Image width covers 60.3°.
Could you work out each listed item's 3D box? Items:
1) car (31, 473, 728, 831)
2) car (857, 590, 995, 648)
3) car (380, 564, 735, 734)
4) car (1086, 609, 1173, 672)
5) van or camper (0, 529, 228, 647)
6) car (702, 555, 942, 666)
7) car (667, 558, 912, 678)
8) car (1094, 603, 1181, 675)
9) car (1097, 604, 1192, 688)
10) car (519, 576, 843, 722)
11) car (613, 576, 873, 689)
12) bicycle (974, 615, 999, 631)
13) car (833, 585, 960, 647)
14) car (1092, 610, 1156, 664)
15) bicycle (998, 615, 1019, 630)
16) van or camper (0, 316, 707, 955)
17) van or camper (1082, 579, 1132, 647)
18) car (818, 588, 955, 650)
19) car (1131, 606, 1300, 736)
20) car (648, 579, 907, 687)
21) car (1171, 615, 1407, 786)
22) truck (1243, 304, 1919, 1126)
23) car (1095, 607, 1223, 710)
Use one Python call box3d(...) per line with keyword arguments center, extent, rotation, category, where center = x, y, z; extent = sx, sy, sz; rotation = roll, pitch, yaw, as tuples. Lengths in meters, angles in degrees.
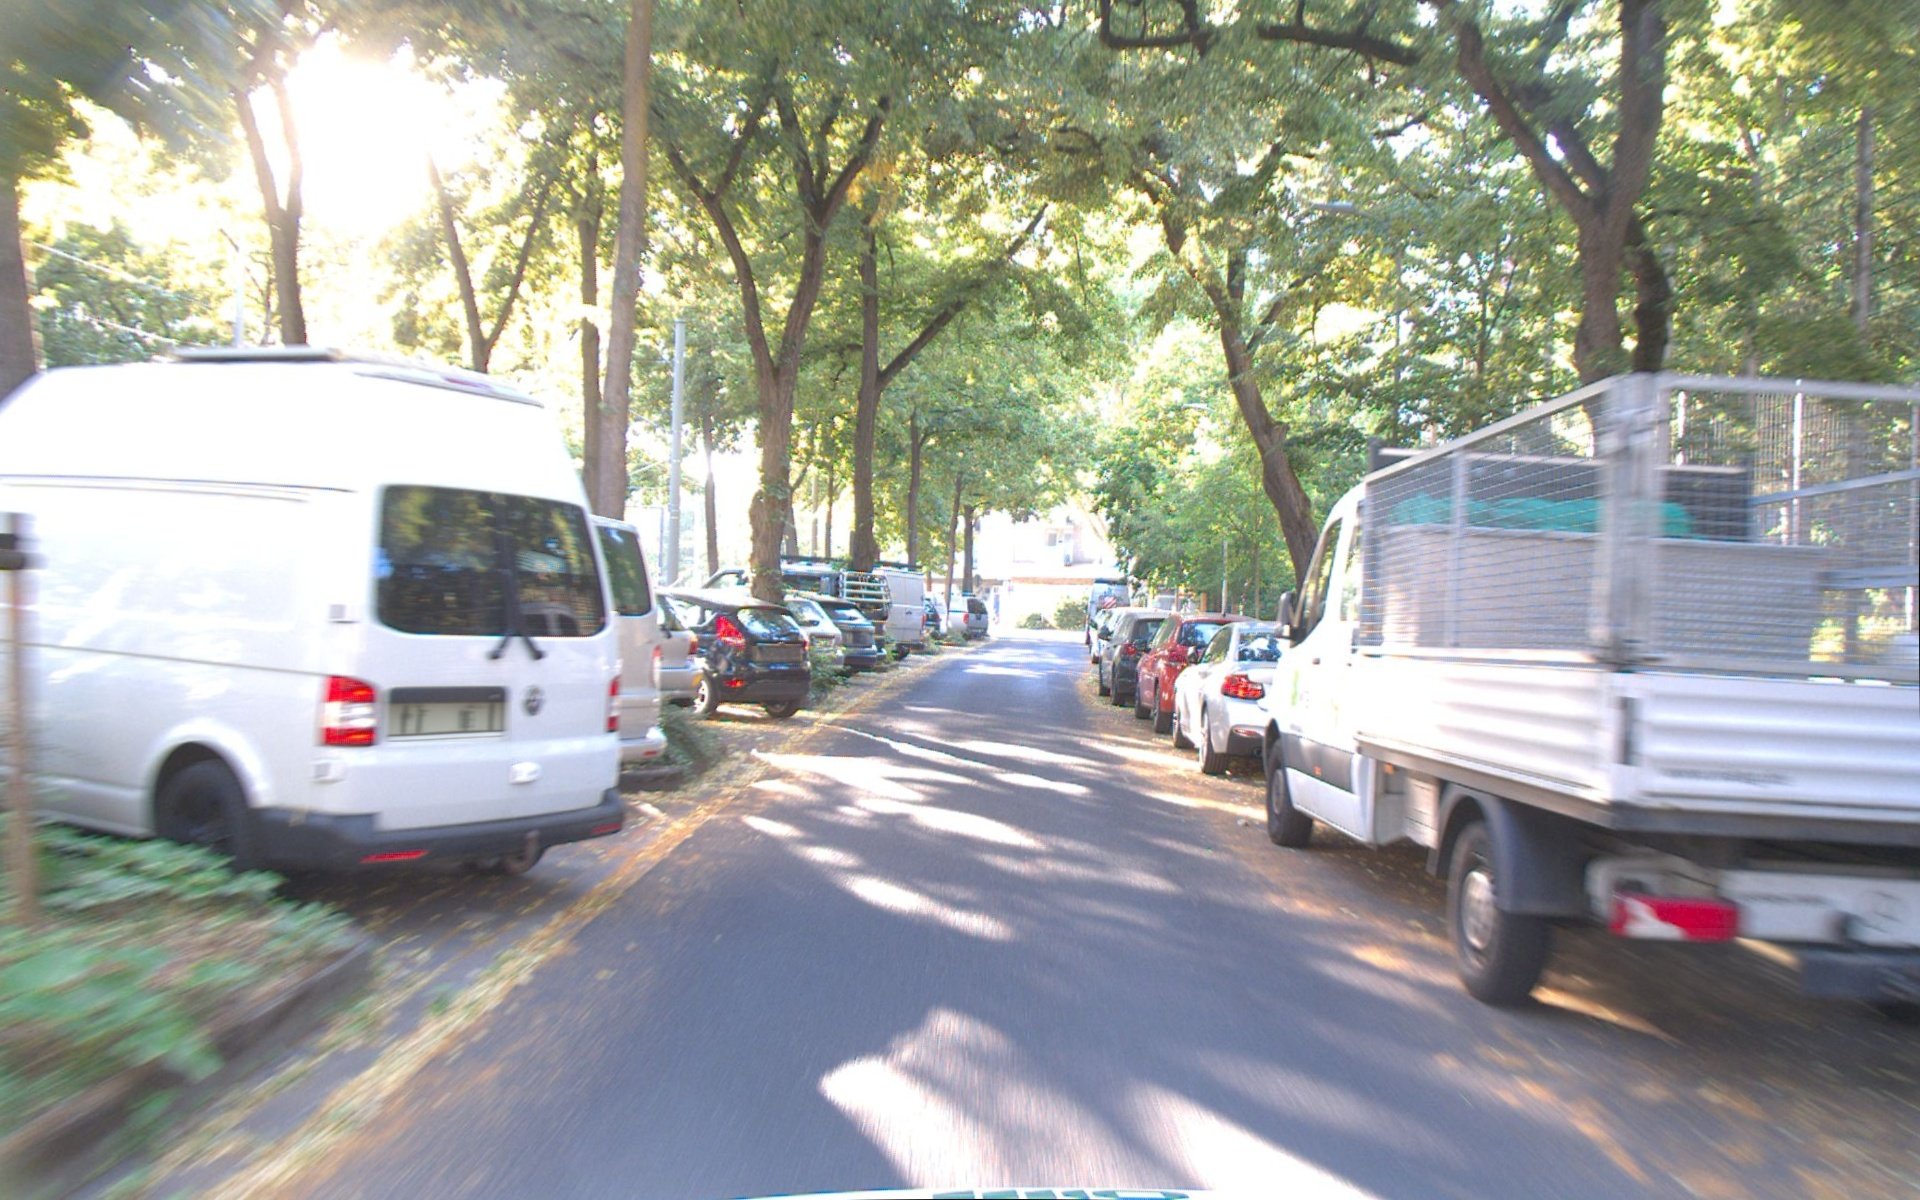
box3d(center=(-4.231, 0.255, 11.838), extent=(4.783, 2.012, 2.040), rotation=(4, -1, 31), category="car")
box3d(center=(-1.309, 0.710, 63.197), extent=(4.896, 1.812, 1.983), rotation=(4, 0, 31), category="car")
box3d(center=(-4.462, 0.514, 18.293), extent=(3.476, 1.519, 1.821), rotation=(4, 0, 32), category="car")
box3d(center=(4.259, 0.989, 42.112), extent=(1.646, 1.479, 4.074), rotation=(2, 0, -2), category="car")
box3d(center=(-18.761, -0.259, 36.139), extent=(5.430, 2.412, 2.303), rotation=(0, 0, 30), category="van or camper")
box3d(center=(-3.313, 0.230, 39.136), extent=(5.400, 2.174, 2.075), rotation=(4, 0, 33), category="car")
box3d(center=(-3.422, 0.332, 32.784), extent=(4.621, 1.976, 1.927), rotation=(4, 0, 36), category="car")
box3d(center=(3.935, 0.836, 37.142), extent=(1.645, 1.479, 4.077), rotation=(2, 0, 2), category="car")
box3d(center=(3.508, 0.842, 31.918), extent=(1.558, 1.479, 3.556), rotation=(2, 0, 2), category="car")
box3d(center=(-3.511, 0.586, 20.596), extent=(3.750, 1.464, 1.818), rotation=(4, 0, 37), category="car")
box3d(center=(-3.605, 0.524, 27.286), extent=(4.010, 1.514, 1.778), rotation=(4, 0, 34), category="car")
box3d(center=(1.803, 1.590, 112.573), extent=(0.633, 1.040, 2.063), rotation=(2, -1, -34), category="bicycle")
box3d(center=(-2.216, 0.536, 57.238), extent=(4.084, 1.812, 1.874), rotation=(4, 0, 39), category="car")
box3d(center=(4.722, 1.044, 48.114), extent=(1.645, 1.449, 4.661), rotation=(2, 0, 3), category="car")
box3d(center=(3.261, 1.503, 110.858), extent=(0.537, 0.920, 1.718), rotation=(2, -1, -31), category="bicycle")
box3d(center=(-3.920, 0.033, 8.570), extent=(4.780, 2.513, 2.041), rotation=(4, -1, 29), category="van or camper")
box3d(center=(6.482, 0.582, 73.499), extent=(2.040, 2.811, 5.848), rotation=(2, 0, 4), category="van or camper")
box3d(center=(-2.414, 0.614, 54.019), extent=(4.077, 1.672, 1.908), rotation=(4, 0, 35), category="car")
box3d(center=(3.219, 0.847, 21.488), extent=(1.638, 1.479, 3.950), rotation=(2, 0, 1), category="car")
box3d(center=(-3.354, 0.581, 30.014), extent=(4.481, 1.567, 1.927), rotation=(4, 0, 36), category="car")
box3d(center=(3.134, 0.894, 16.539), extent=(1.637, 1.422, 4.300), rotation=(2, 0, 2), category="car")
box3d(center=(3.159, 0.383, 8.413), extent=(2.248, 2.428, 6.934), rotation=(2, 0, 0), category="truck")
box3d(center=(3.135, 0.880, 26.659), extent=(1.638, 1.479, 3.950), rotation=(2, 0, 1), category="car")
